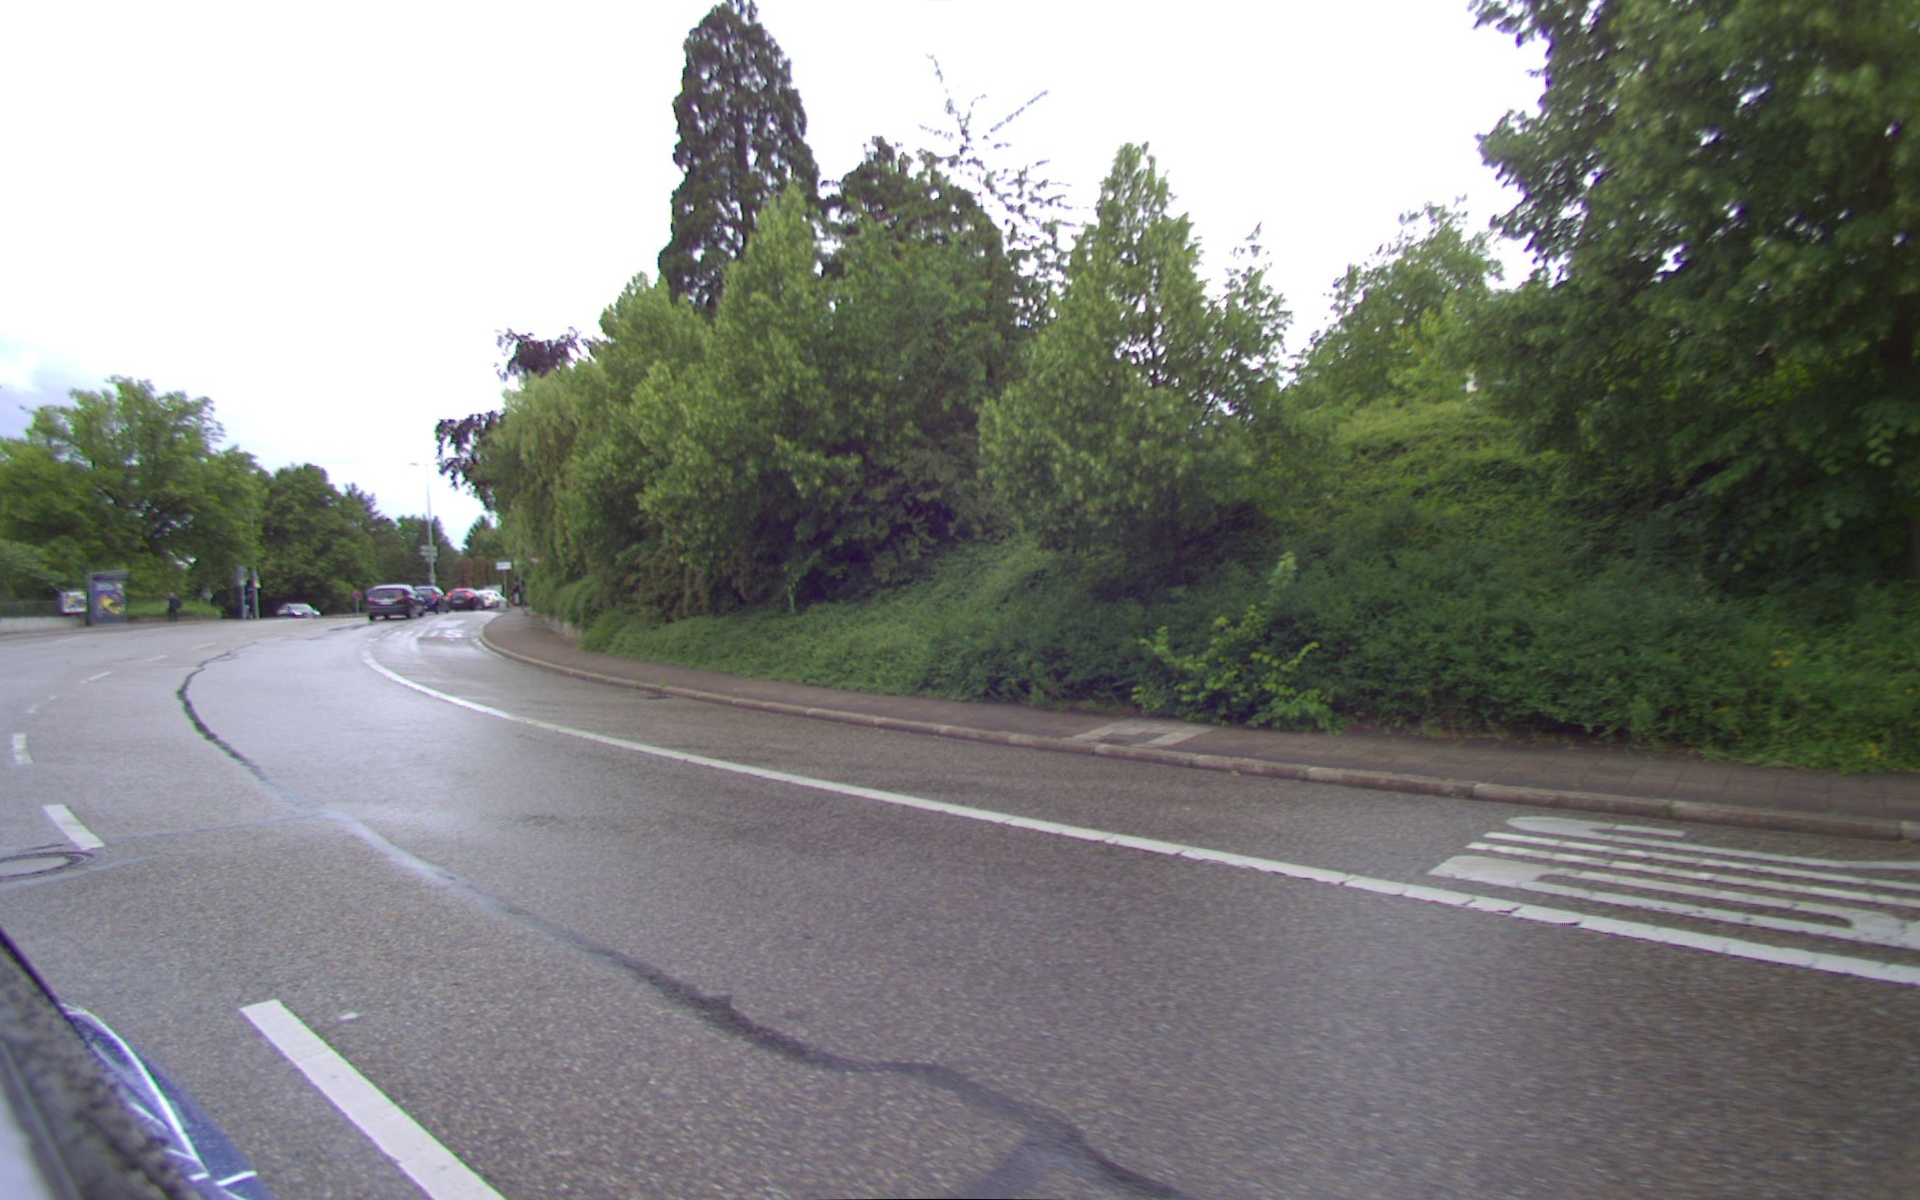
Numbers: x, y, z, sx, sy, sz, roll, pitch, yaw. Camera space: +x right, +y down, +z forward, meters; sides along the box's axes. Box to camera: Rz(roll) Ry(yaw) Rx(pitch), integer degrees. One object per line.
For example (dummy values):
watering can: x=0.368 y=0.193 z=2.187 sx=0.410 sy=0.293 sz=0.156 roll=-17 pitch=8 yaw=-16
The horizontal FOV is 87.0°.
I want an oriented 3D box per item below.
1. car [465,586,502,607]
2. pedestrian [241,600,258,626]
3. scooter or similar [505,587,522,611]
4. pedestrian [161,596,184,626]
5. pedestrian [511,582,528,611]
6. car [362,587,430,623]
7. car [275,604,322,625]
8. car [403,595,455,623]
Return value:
car: x=-34.691 y=-0.238 z=73.789 sx=1.803 sy=1.412 sz=4.835 roll=-2 pitch=0 yaw=-17
pedestrian: x=-47.402 y=0.857 z=67.517 sx=0.713 sy=1.746 sz=0.822 roll=-2 pitch=0 yaw=-21
scooter or similar: x=-28.921 y=-0.050 z=65.564 sx=0.503 sy=1.527 sz=1.319 roll=-2 pitch=0 yaw=-2
pedestrian: x=-45.542 y=0.647 z=58.560 sx=0.912 sy=1.667 sz=1.101 roll=-2 pitch=0 yaw=-32
pedestrian: x=-28.542 y=-0.207 z=65.586 sx=0.695 sy=1.821 sz=0.826 roll=-2 pitch=0 yaw=-1
car: x=-27.400 y=0.203 z=49.291 sx=1.785 sy=1.588 sz=4.700 roll=-2 pitch=1 yaw=-16
car: x=-51.718 y=1.148 z=79.047 sx=4.382 sy=1.425 sz=1.839 roll=-4 pitch=-1 yaw=40
car: x=-29.839 y=0.500 z=56.982 sx=1.698 sy=1.475 sz=4.389 roll=-2 pitch=0 yaw=-15
